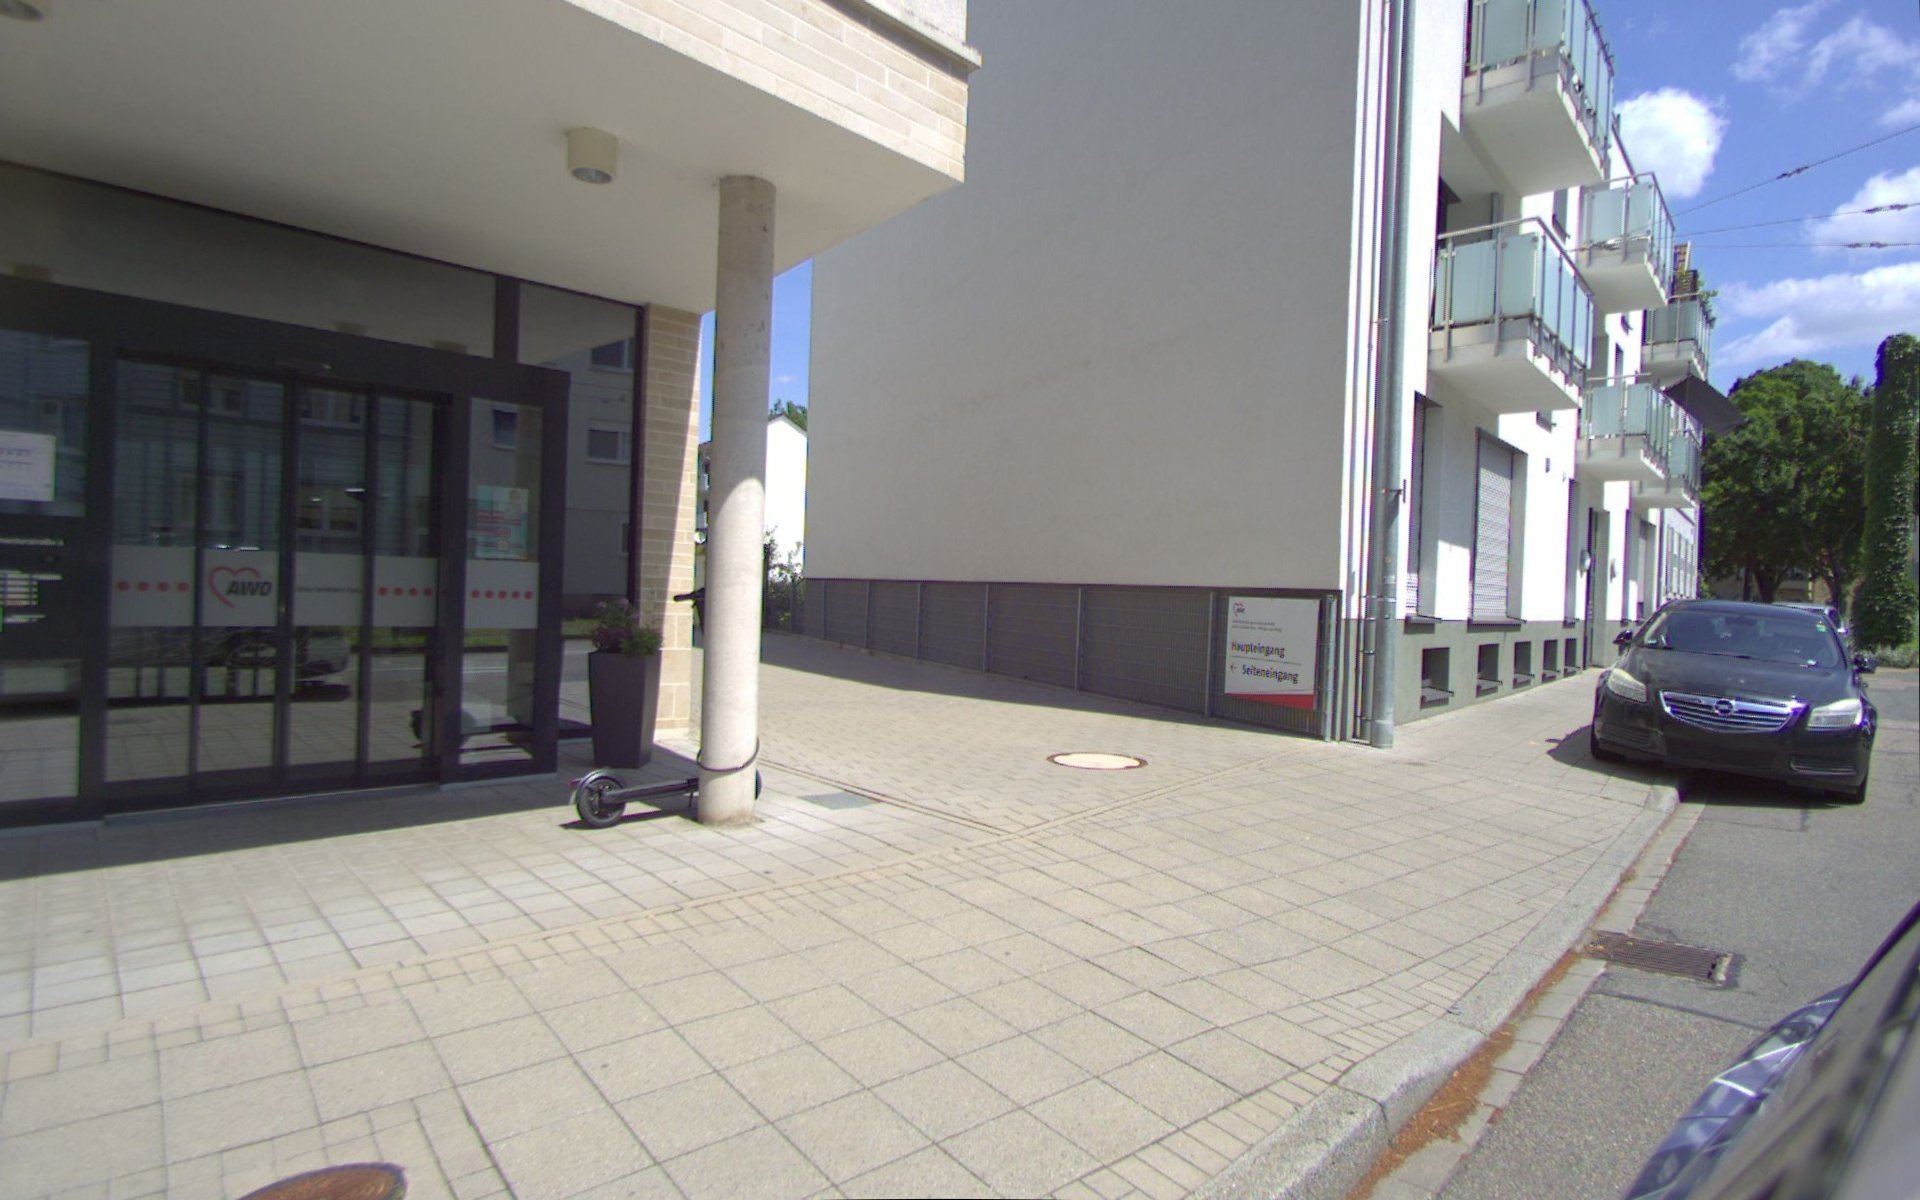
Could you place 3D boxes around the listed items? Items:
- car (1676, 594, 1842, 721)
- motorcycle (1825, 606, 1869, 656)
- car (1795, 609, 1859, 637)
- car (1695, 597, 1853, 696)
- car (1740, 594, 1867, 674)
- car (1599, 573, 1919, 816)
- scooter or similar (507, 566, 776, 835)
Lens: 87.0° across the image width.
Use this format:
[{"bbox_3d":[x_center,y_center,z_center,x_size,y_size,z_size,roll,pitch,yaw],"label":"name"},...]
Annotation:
[{"bbox_3d":[11.573,0.720,14.616,1.592,1.450,3.652,7,4,40],"label":"car"},{"bbox_3d":[25.711,0.891,29.320,0.800,1.369,2.300,2,1,45],"label":"motorcycle"},{"bbox_3d":[62.431,1.605,72.921,1.749,1.633,3.860,7,3,13],"label":"car"},{"bbox_3d":[14.806,0.758,18.338,1.729,1.450,3.977,7,5,44],"label":"car"},{"bbox_3d":[19.933,0.724,23.870,3.735,1.630,1.730,0,4,-42],"label":"car"},{"bbox_3d":[7.240,0.620,9.219,1.798,1.527,4.483,7,4,39],"label":"car"},{"bbox_3d":[-1.610,0.461,5.271,0.421,1.226,1.296,2,1,39],"label":"scooter or similar"}]
